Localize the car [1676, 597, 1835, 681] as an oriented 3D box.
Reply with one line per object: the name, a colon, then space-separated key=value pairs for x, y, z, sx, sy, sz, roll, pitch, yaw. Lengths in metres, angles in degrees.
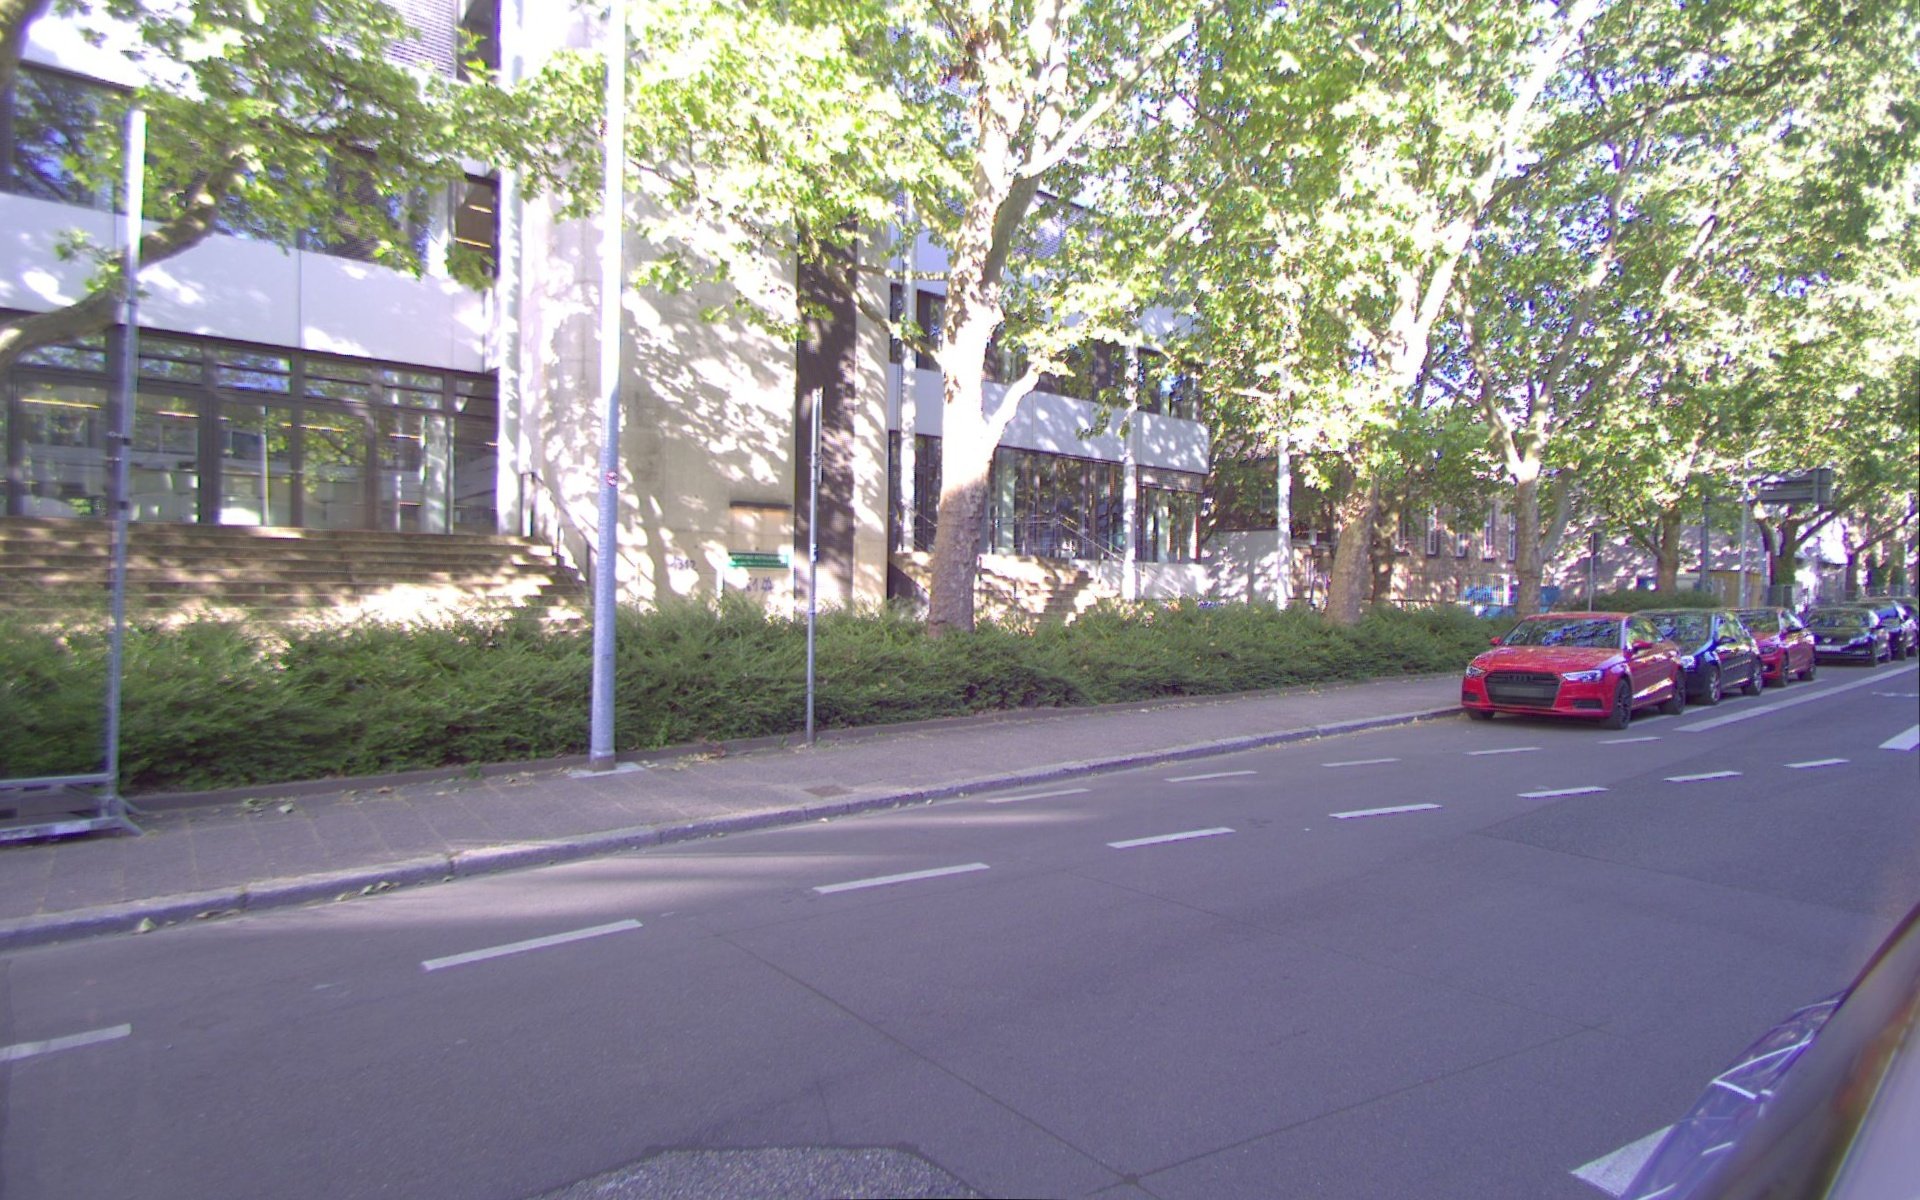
car: x=15.852 y=0.700 z=20.108 sx=4.092 sy=1.502 sz=1.815 roll=0 pitch=-1 yaw=-42

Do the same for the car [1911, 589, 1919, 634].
car: x=39.619 y=0.436 z=40.402 sx=4.475 sy=1.777 sz=2.040 roll=0 pitch=-1 yaw=-42

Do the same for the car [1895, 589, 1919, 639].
car: x=35.902 y=0.481 z=37.251 sx=4.475 sy=1.777 sz=1.788 roll=0 pitch=-1 yaw=-42

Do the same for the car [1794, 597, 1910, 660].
car: x=23.044 y=0.678 z=26.101 sx=4.092 sy=1.478 sz=1.788 roll=0 pitch=-1 yaw=-42

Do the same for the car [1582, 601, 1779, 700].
car: x=11.947 y=0.738 z=16.686 sx=4.092 sy=1.431 sz=1.815 roll=0 pitch=-1 yaw=-42

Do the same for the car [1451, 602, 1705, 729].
car: x=8.353 y=0.753 z=13.547 sx=4.092 sy=1.431 sz=1.815 roll=0 pitch=-1 yaw=-42

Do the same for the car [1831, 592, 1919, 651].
car: x=26.589 y=0.587 z=29.133 sx=4.092 sy=1.573 sz=1.788 roll=0 pitch=-1 yaw=-42

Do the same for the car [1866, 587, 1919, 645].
car: x=31.049 y=0.487 z=33.015 sx=4.271 sy=1.777 sz=1.788 roll=0 pitch=-1 yaw=-42
